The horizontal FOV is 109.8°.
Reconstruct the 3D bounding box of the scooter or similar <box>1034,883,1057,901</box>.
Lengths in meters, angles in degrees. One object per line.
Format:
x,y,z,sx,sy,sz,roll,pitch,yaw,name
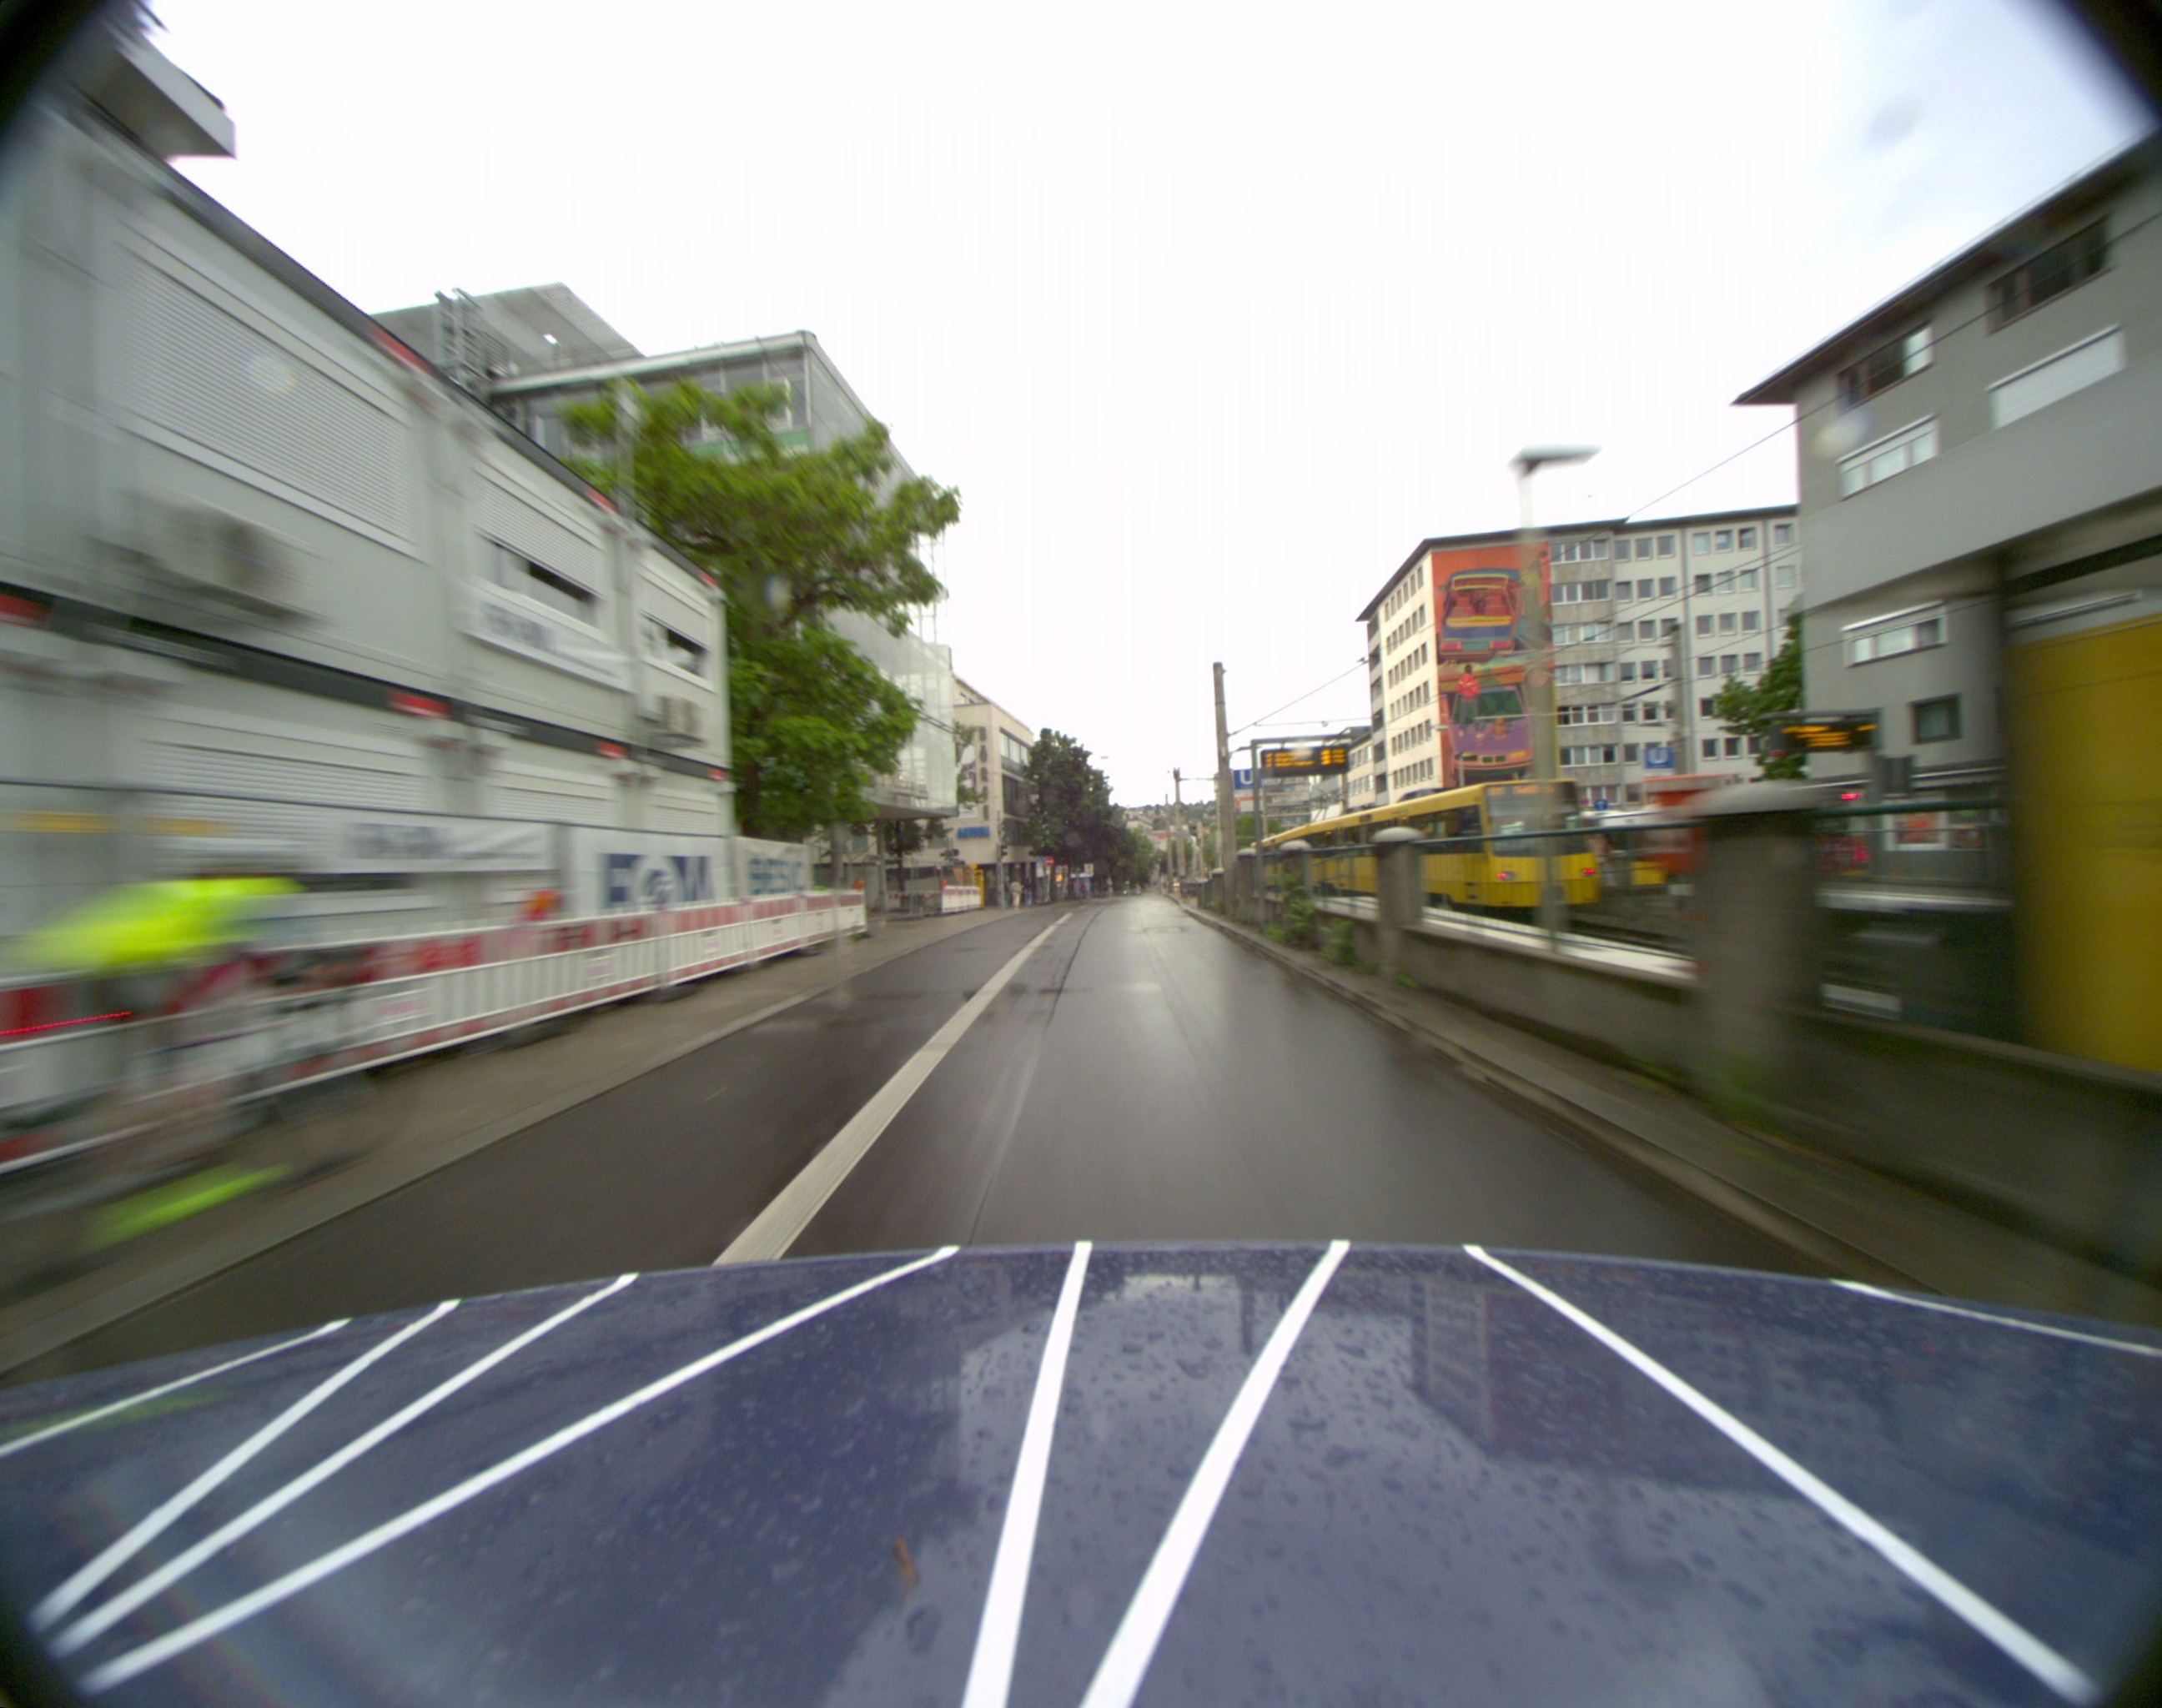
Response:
-2.465,2.642,52.771,1.385,1.172,0.511,-2,-1,-25,scooter or similar

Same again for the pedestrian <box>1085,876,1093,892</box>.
0.789,2.943,74.542,0.559,1.613,0.485,-4,-3,7,pedestrian

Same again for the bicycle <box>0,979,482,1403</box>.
-3.794,1.244,3.329,0.663,1.046,2.057,0,0,1,bicycle

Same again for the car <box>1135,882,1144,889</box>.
11.802,6.375,153.353,1.619,1.454,3.592,-4,-3,6,car

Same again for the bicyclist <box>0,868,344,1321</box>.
-3.814,0.889,3.179,0.663,1.629,0.793,1,1,2,bicyclist

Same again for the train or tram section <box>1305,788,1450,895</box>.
12.001,-0.293,31.970,2.785,3.669,9.516,-4,-2,4,train or tram section

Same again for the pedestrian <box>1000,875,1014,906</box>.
-4.270,2.098,43.861,0.599,1.751,0.845,-2,-1,3,pedestrian

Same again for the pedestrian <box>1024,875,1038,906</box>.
-2.920,2.111,44.180,0.720,1.751,0.959,-2,-1,-3,pedestrian

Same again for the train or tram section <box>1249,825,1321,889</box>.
13.410,0.320,50.675,2.785,3.669,8.981,-4,-2,4,train or tram section

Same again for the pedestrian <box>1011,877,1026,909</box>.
-3.544,2.209,43.131,0.720,1.751,0.959,-2,-1,-3,pedestrian

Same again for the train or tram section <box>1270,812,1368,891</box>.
12.693,0.022,41.453,2.785,3.669,9.516,-4,-2,4,train or tram section

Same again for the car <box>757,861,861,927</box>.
-9.008,1.290,25.560,2.015,1.970,4.201,-2,-2,-1,car

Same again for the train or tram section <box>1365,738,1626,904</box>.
11.333,-0.608,22.359,2.785,3.669,9.720,-4,-2,4,train or tram section
